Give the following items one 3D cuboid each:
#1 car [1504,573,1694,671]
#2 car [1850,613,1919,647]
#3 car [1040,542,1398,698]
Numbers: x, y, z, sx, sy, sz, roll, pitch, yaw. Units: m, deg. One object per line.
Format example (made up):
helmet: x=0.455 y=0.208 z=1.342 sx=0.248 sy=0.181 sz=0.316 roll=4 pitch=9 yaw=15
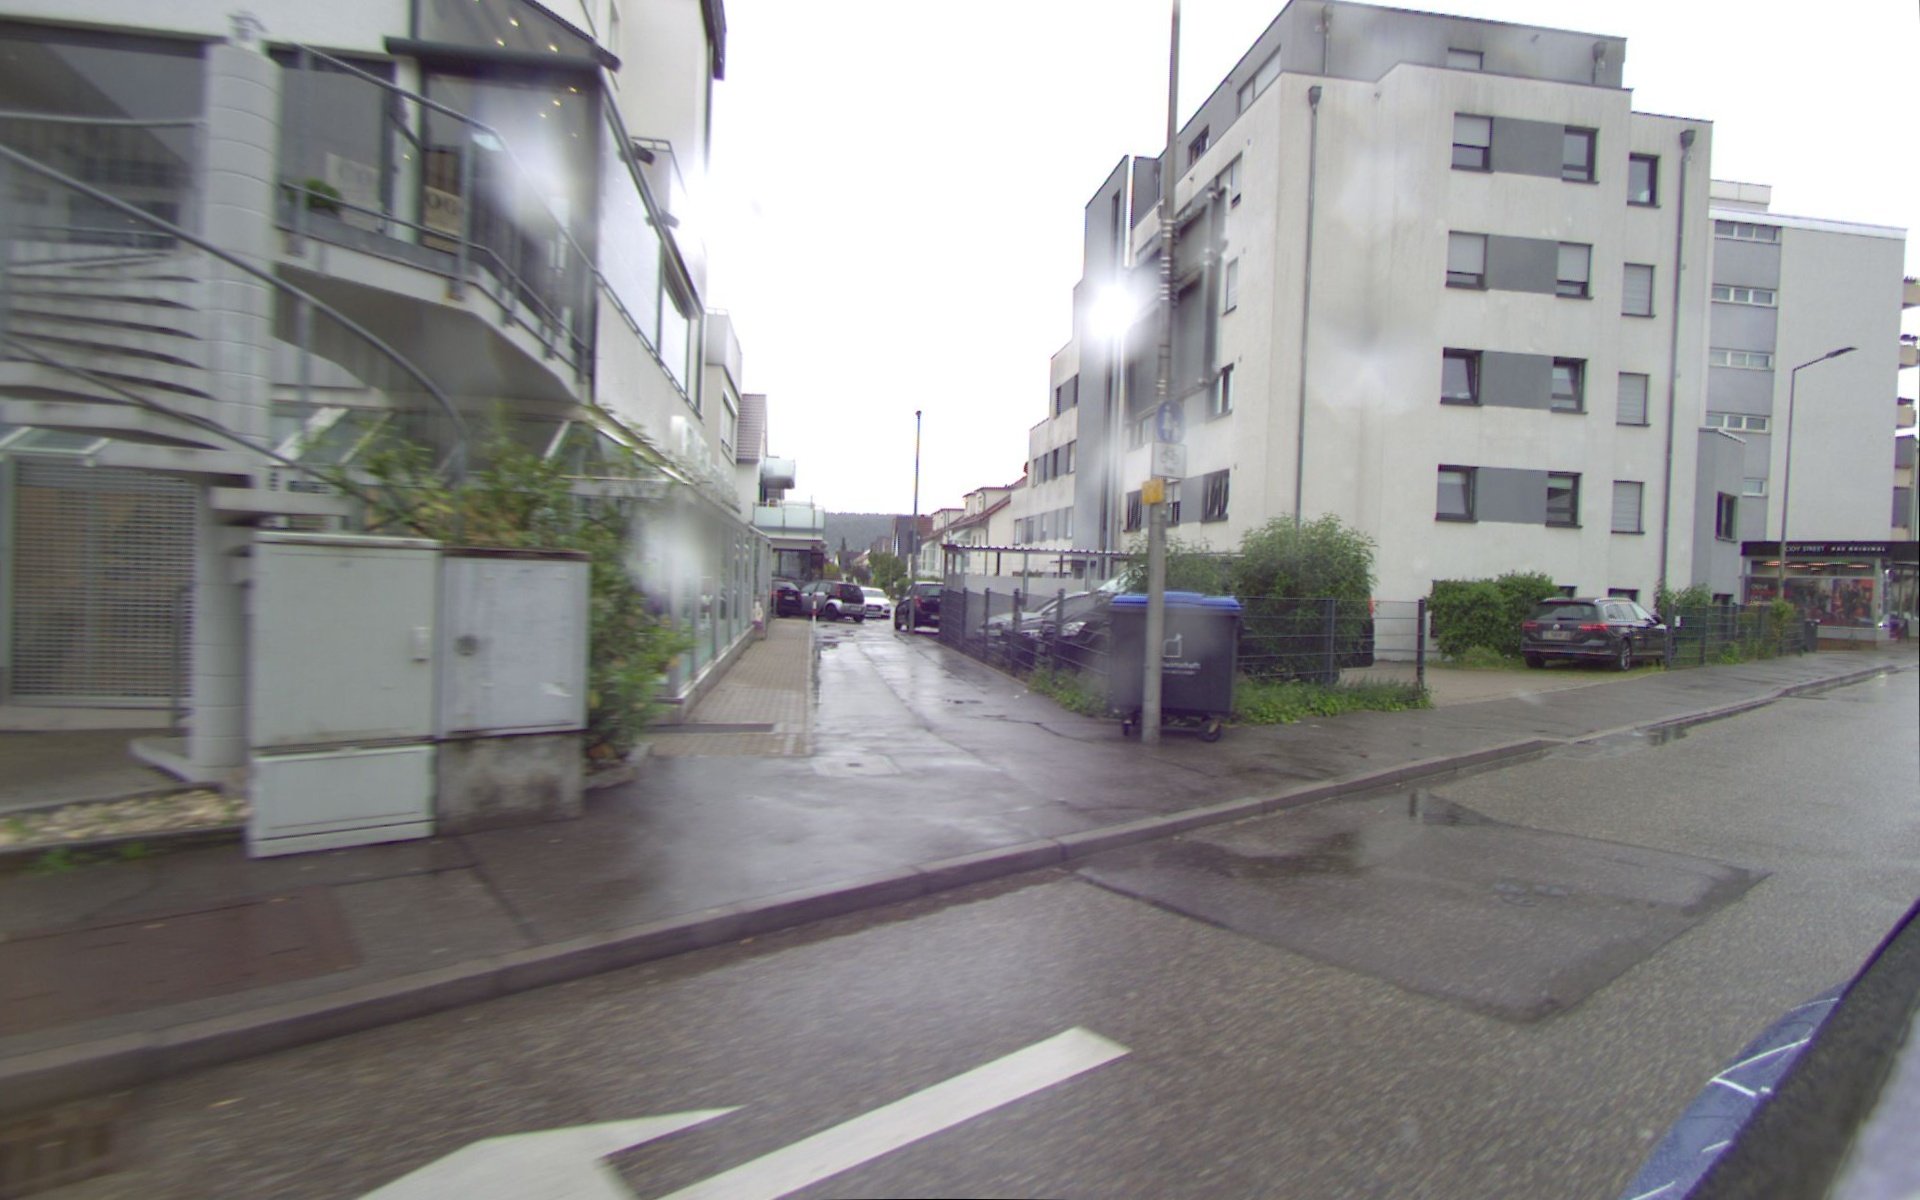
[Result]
car: x=13.491 y=0.422 z=21.249 sx=4.606 sy=1.807 sz=1.998 roll=1 pitch=2 yaw=-40
car: x=46.666 y=1.504 z=49.614 sx=1.833 sy=1.513 sz=4.279 roll=3 pitch=0 yaw=-12
car: x=3.732 y=0.275 z=15.101 sx=4.682 sy=2.038 sz=2.003 roll=2 pitch=1 yaw=-7
